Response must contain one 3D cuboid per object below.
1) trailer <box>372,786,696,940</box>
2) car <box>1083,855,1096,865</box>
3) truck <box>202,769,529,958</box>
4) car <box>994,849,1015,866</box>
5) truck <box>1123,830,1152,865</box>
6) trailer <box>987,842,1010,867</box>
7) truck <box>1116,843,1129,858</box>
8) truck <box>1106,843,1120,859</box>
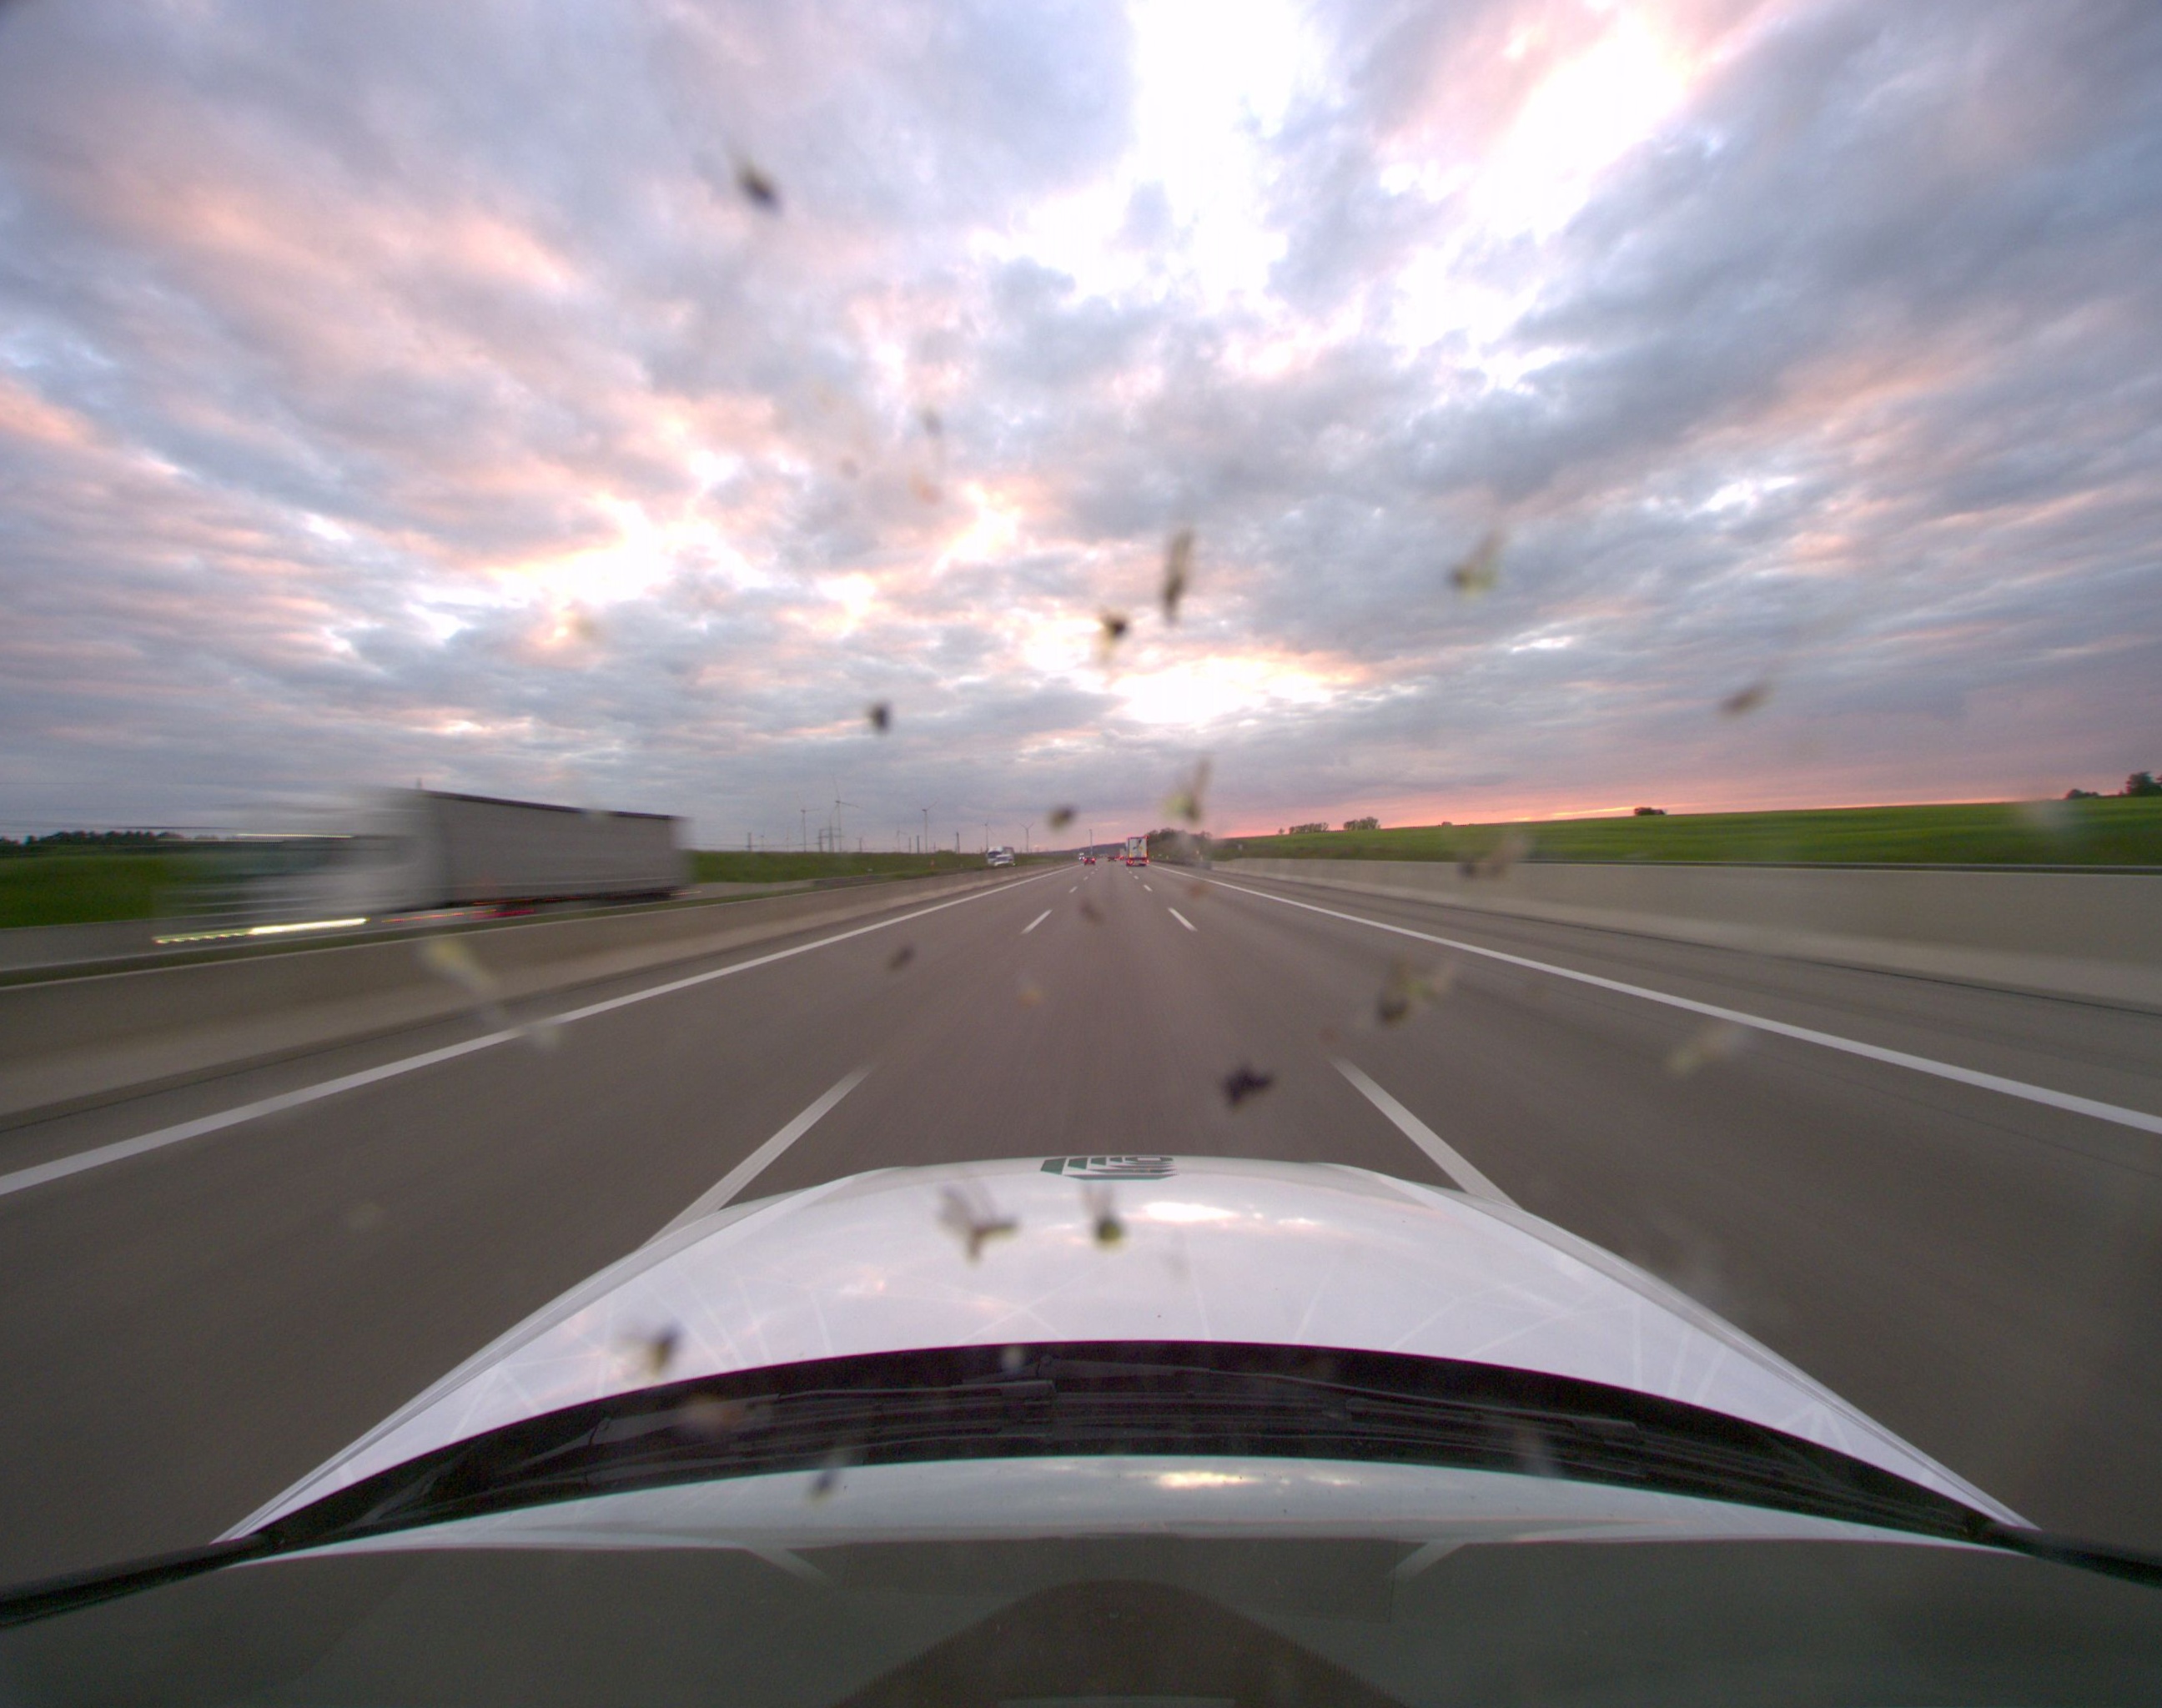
[{"bbox_3d":[-18.625,0.236,29.623,2.807,4.352,12.842,0,0,1],"label":"trailer"},{"bbox_3d":[1.436,0.974,135.284,1.979,1.429,4.004,-2,0,3],"label":"car"},{"bbox_3d":[-18.835,0.216,22.192,2.807,4.352,6.741,0,0,1],"label":"truck"},{"bbox_3d":[-11.046,0.506,118.196,2.119,2.344,6.495,-3,0,2],"label":"car"},{"bbox_3d":[7.940,-0.877,115.171,3.660,4.564,10.990,-2,0,3],"label":"truck"},{"bbox_3d":[-14.310,0.037,141.411,2.676,4.114,6.942,-4,0,2],"label":"trailer"},{"bbox_3d":[13.499,-1.149,262.652,3.949,4.414,8.642,-2,0,3],"label":"truck"},{"bbox_3d":[8.781,-0.774,226.096,3.634,4.414,8.639,-2,0,2],"label":"truck"}]
